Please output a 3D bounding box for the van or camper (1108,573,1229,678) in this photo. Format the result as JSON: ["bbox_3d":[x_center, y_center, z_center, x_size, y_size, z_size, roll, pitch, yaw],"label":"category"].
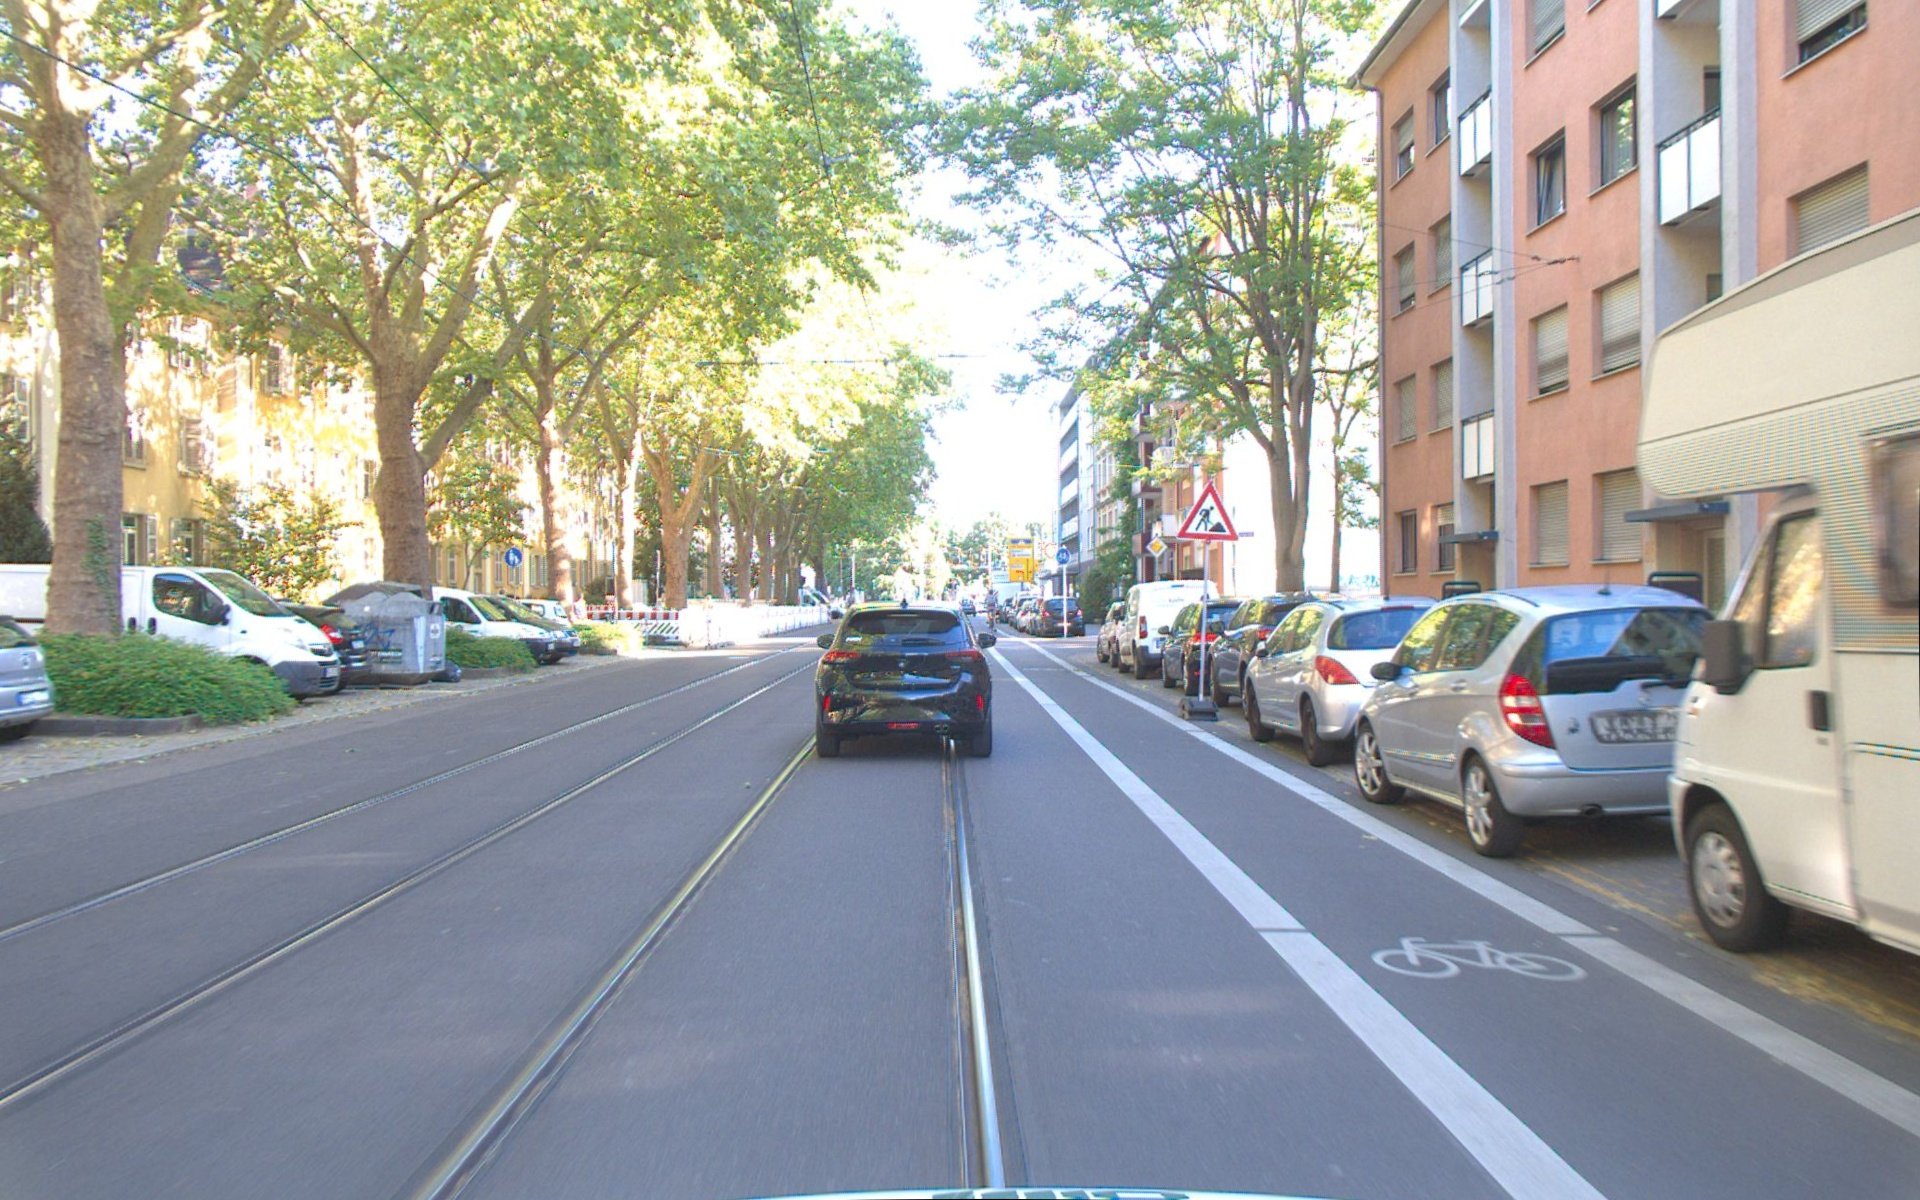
[{"bbox_3d":[4.068,0.458,32.953,1.719,1.897,4.829,-1,0,-1],"label":"van or camper"}]

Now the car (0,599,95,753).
[{"bbox_3d":[-11.455,0.792,17.337,3.769,1.524,1.862,-1,0,-1],"label":"car"}]

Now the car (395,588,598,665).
[{"bbox_3d":[-10.899,0.611,39.047,4.145,1.717,1.934,-1,0,6],"label":"car"}]

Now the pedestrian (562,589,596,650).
[{"bbox_3d":[-11.334,0.579,49.226,0.805,1.776,0.796,1,-1,-1],"label":"pedestrian"}]

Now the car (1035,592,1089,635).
[{"bbox_3d":[3.818,0.480,62.512,1.698,1.487,3.915,-2,0,-1],"label":"car"}]

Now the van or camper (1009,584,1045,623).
[{"bbox_3d":[3.477,0.168,86.391,1.635,1.915,4.210,-2,0,0],"label":"van or camper"}]

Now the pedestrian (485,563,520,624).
[{"bbox_3d":[-13.382,-0.180,48.402,0.805,1.776,0.796,1,-1,-1],"label":"pedestrian"}]

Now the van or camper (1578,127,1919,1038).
[{"bbox_3d":[4.504,-0.084,5.289,2.412,3.117,6.265,-2,0,-2],"label":"van or camper"}]

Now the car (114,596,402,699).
[{"bbox_3d":[-11.149,0.731,26.461,3.769,1.524,1.862,-1,0,-1],"label":"car"}]

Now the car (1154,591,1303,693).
[{"bbox_3d":[4.291,0.620,26.980,1.671,1.498,4.167,-1,0,-1],"label":"car"}]

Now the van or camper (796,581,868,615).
[{"bbox_3d":[-10.360,-0.142,133.994,5.607,2.690,2.269,1,-1,0],"label":"van or camper"}]

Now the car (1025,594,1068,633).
[{"bbox_3d":[3.709,0.575,71.217,1.559,1.553,3.834,-3,0,0],"label":"car"}]

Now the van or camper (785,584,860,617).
[{"bbox_3d":[-10.336,0.034,124.644,5.387,2.421,2.270,1,-1,3],"label":"van or camper"}]

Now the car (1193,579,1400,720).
[{"bbox_3d":[4.322,0.584,21.902,1.732,1.599,4.336,-2,0,-1],"label":"car"}]

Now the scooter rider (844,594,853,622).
[{"bbox_3d":[-7.964,0.575,118.212,0.636,1.991,0.624,1,-1,0],"label":"scooter rider"}]

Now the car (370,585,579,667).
[{"bbox_3d":[-10.728,0.561,36.766,4.112,1.788,1.740,0,0,0],"label":"car"}]

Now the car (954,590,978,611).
[{"bbox_3d":[0.505,0.023,149.525,1.953,1.725,4.739,-2,0,-1],"label":"car"}]

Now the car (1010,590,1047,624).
[{"bbox_3d":[3.369,0.323,81.885,1.626,1.608,3.588,-2,0,0],"label":"car"}]

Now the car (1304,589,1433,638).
[{"bbox_3d":[13.345,0.431,54.123,3.835,1.508,1.561,0,3,-2],"label":"car"}]

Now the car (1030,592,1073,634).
[{"bbox_3d":[3.631,0.530,66.389,1.495,1.618,3.751,1,0,0],"label":"car"}]

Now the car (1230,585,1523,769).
[{"bbox_3d":[4.028,0.669,16.756,1.752,1.548,4.321,-2,0,-1],"label":"car"}]

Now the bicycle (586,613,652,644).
[{"bbox_3d":[-10.880,0.904,52.752,1.932,0.979,0.726,0,0,0],"label":"bicycle"}]

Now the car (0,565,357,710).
[{"bbox_3d":[-11.248,0.514,23.626,4.565,1.979,1.960,0,0,-4],"label":"car"}]

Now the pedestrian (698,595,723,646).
[{"bbox_3d":[-8.373,0.679,55.570,0.702,1.698,0.778,1,-1,0],"label":"pedestrian"}]

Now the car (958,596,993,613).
[{"bbox_3d":[1.696,0.499,178.932,1.896,1.725,4.280,-2,0,-29],"label":"car"}]

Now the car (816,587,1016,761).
[{"bbox_3d":[-0.417,0.640,16.459,1.745,1.522,3.999,0,0,-1],"label":"car"}]

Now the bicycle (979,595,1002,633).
[{"bbox_3d":[1.290,0.567,70.940,0.897,1.588,3.404,0,0,0],"label":"bicycle"}]

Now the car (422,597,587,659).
[{"bbox_3d":[-11.863,0.720,43.212,3.769,1.524,1.862,-1,0,-1],"label":"car"}]

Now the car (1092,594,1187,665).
[{"bbox_3d":[4.061,0.633,38.017,1.671,1.498,3.999,-1,0,-1],"label":"car"}]

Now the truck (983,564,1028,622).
[{"bbox_3d":[2.810,-0.429,104.239,2.487,3.396,7.194,-3,0,0],"label":"truck"}]

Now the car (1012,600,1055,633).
[{"bbox_3d":[3.396,0.746,76.888,1.626,1.424,4.739,-2,0,-1],"label":"car"}]

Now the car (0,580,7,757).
[{"bbox_3d":[-11.085,0.695,14.998,3.769,1.692,1.862,-1,0,-1],"label":"car"}]

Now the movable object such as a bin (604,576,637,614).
[{"bbox_3d":[-17.390,-0.244,84.756,1.306,1.901,2.007,1,-1,-1],"label":"movable object such as a bin"}]

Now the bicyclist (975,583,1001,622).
[{"bbox_3d":[1.195,0.103,70.871,1.067,1.676,1.400,0,0,0],"label":"bicyclist"}]

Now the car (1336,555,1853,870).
[{"bbox_3d":[3.983,0.612,11.251,1.756,1.656,4.275,-2,0,-1],"label":"car"}]
